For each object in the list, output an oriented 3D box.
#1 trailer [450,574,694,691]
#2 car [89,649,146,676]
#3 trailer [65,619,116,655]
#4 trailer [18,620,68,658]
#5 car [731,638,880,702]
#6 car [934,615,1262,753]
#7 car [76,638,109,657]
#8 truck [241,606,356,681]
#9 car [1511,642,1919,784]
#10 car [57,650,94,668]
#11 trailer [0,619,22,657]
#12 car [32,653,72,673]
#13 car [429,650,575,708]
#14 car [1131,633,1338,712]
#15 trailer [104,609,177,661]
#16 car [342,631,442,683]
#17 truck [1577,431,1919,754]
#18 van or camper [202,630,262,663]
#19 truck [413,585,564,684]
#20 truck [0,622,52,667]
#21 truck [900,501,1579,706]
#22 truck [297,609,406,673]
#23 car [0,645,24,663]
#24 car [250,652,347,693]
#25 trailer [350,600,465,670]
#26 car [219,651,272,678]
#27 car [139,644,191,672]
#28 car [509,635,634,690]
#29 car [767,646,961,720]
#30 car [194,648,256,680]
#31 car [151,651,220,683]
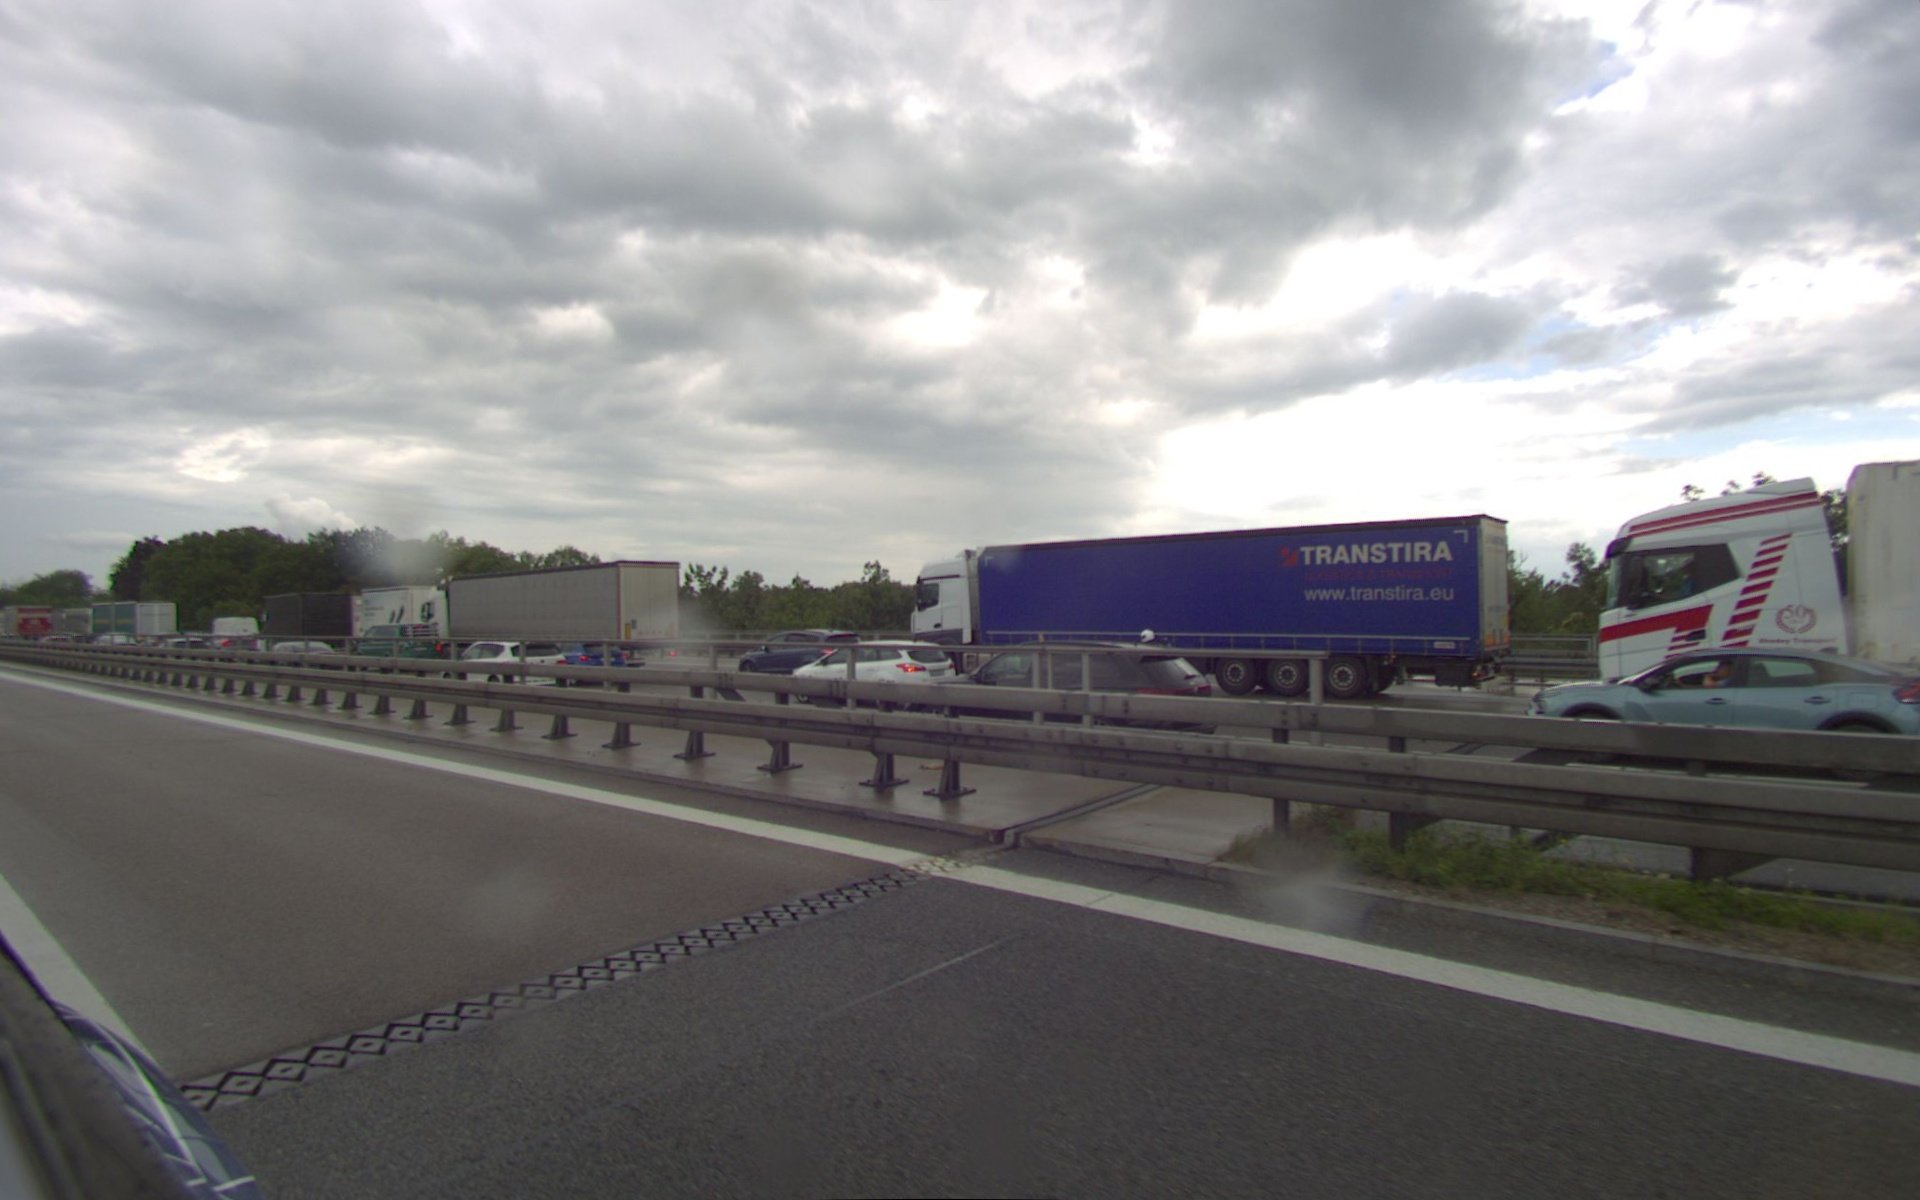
[{"bbox_3d":[-15.628,1.298,39.836,13.007,3.963,3.210,-2,-2,41],"label":"trailer"},{"bbox_3d":[-49.214,3.609,59.069,5.499,1.514,1.702,-3,-3,41],"label":"car"},{"bbox_3d":[-101.560,4.403,118.164,12.299,4.024,2.729,-2,-3,41],"label":"trailer"},{"bbox_3d":[-106.161,4.514,117.076,13.022,4.177,2.850,-3,-3,41],"label":"trailer"},{"bbox_3d":[-4.692,2.056,30.365,4.572,1.761,1.947,-3,-3,41],"label":"car"},{"bbox_3d":[1.806,1.074,14.153,4.281,1.631,1.773,-2,-2,41],"label":"car"},{"bbox_3d":[-86.382,4.737,100.717,3.999,1.844,1.972,-2,-2,42],"label":"car"},{"bbox_3d":[-32.643,2.147,49.773,8.535,3.425,2.493,-3,-3,41],"label":"truck"},{"bbox_3d":[9.787,1.308,12.822,4.674,1.514,1.628,-2,-2,41],"label":"car"},{"bbox_3d":[-74.755,4.947,85.534,3.998,1.463,1.813,-3,-3,41],"label":"car"},{"bbox_3d":[-108.350,4.301,113.553,13.015,4.177,2.852,-2,-3,40],"label":"trailer"},{"bbox_3d":[-64.135,4.414,71.490,4.381,1.364,1.556,-3,-3,41],"label":"car"},{"bbox_3d":[-12.029,2.010,26.433,4.623,1.364,1.702,-3,-3,41],"label":"car"},{"bbox_3d":[5.859,1.526,21.910,3.998,1.557,1.628,-3,-3,41],"label":"car"},{"bbox_3d":[-69.469,2.977,85.639,11.594,4.092,2.789,-2,-2,41],"label":"trailer"},{"bbox_3d":[-23.888,2.351,42.464,5.671,2.068,1.802,-2,-3,41],"label":"car"},{"bbox_3d":[13.619,-0.075,14.417,7.731,4.226,3.145,-3,-3,40],"label":"truck"},{"bbox_3d":[-58.994,3.751,81.967,7.357,2.598,2.221,-2,-3,40],"label":"van or camper"},{"bbox_3d":[-20.704,1.486,44.213,7.569,3.963,3.166,-2,-2,41],"label":"truck"},{"bbox_3d":[-92.653,4.383,99.810,12.514,4.181,2.953,-2,-3,41],"label":"truck"},{"bbox_3d":[5.759,0.430,26.686,17.732,4.052,2.621,-3,-3,40],"label":"truck"},{"bbox_3d":[-40.793,2.708,67.637,10.275,3.939,3.192,-2,-2,41],"label":"truck"},{"bbox_3d":[-79.688,4.493,84.479,3.998,1.463,1.813,-2,-2,41],"label":"car"},{"bbox_3d":[-23.427,2.520,35.775,4.532,1.364,1.702,-3,-3,41],"label":"car"},{"bbox_3d":[-33.599,2.115,61.371,8.845,3.989,3.186,-2,-2,41],"label":"trailer"},{"bbox_3d":[-43.600,3.900,61.737,4.083,1.547,1.702,-3,-3,41],"label":"car"},{"bbox_3d":[-51.067,3.715,64.979,5.101,1.741,1.702,-3,-3,41],"label":"car"},{"bbox_3d":[-12.606,1.980,32.695,4.695,1.636,1.802,-2,-3,41],"label":"car"},{"bbox_3d":[-2.349,1.878,23.630,4.857,1.522,1.628,-3,-3,41],"label":"car"},{"bbox_3d":[-41.039,3.539,56.471,5.052,1.713,1.702,-3,-3,41],"label":"car"},{"bbox_3d":[-35.405,3.022,46.242,3.998,1.364,1.702,-3,-3,41],"label":"car"}]
